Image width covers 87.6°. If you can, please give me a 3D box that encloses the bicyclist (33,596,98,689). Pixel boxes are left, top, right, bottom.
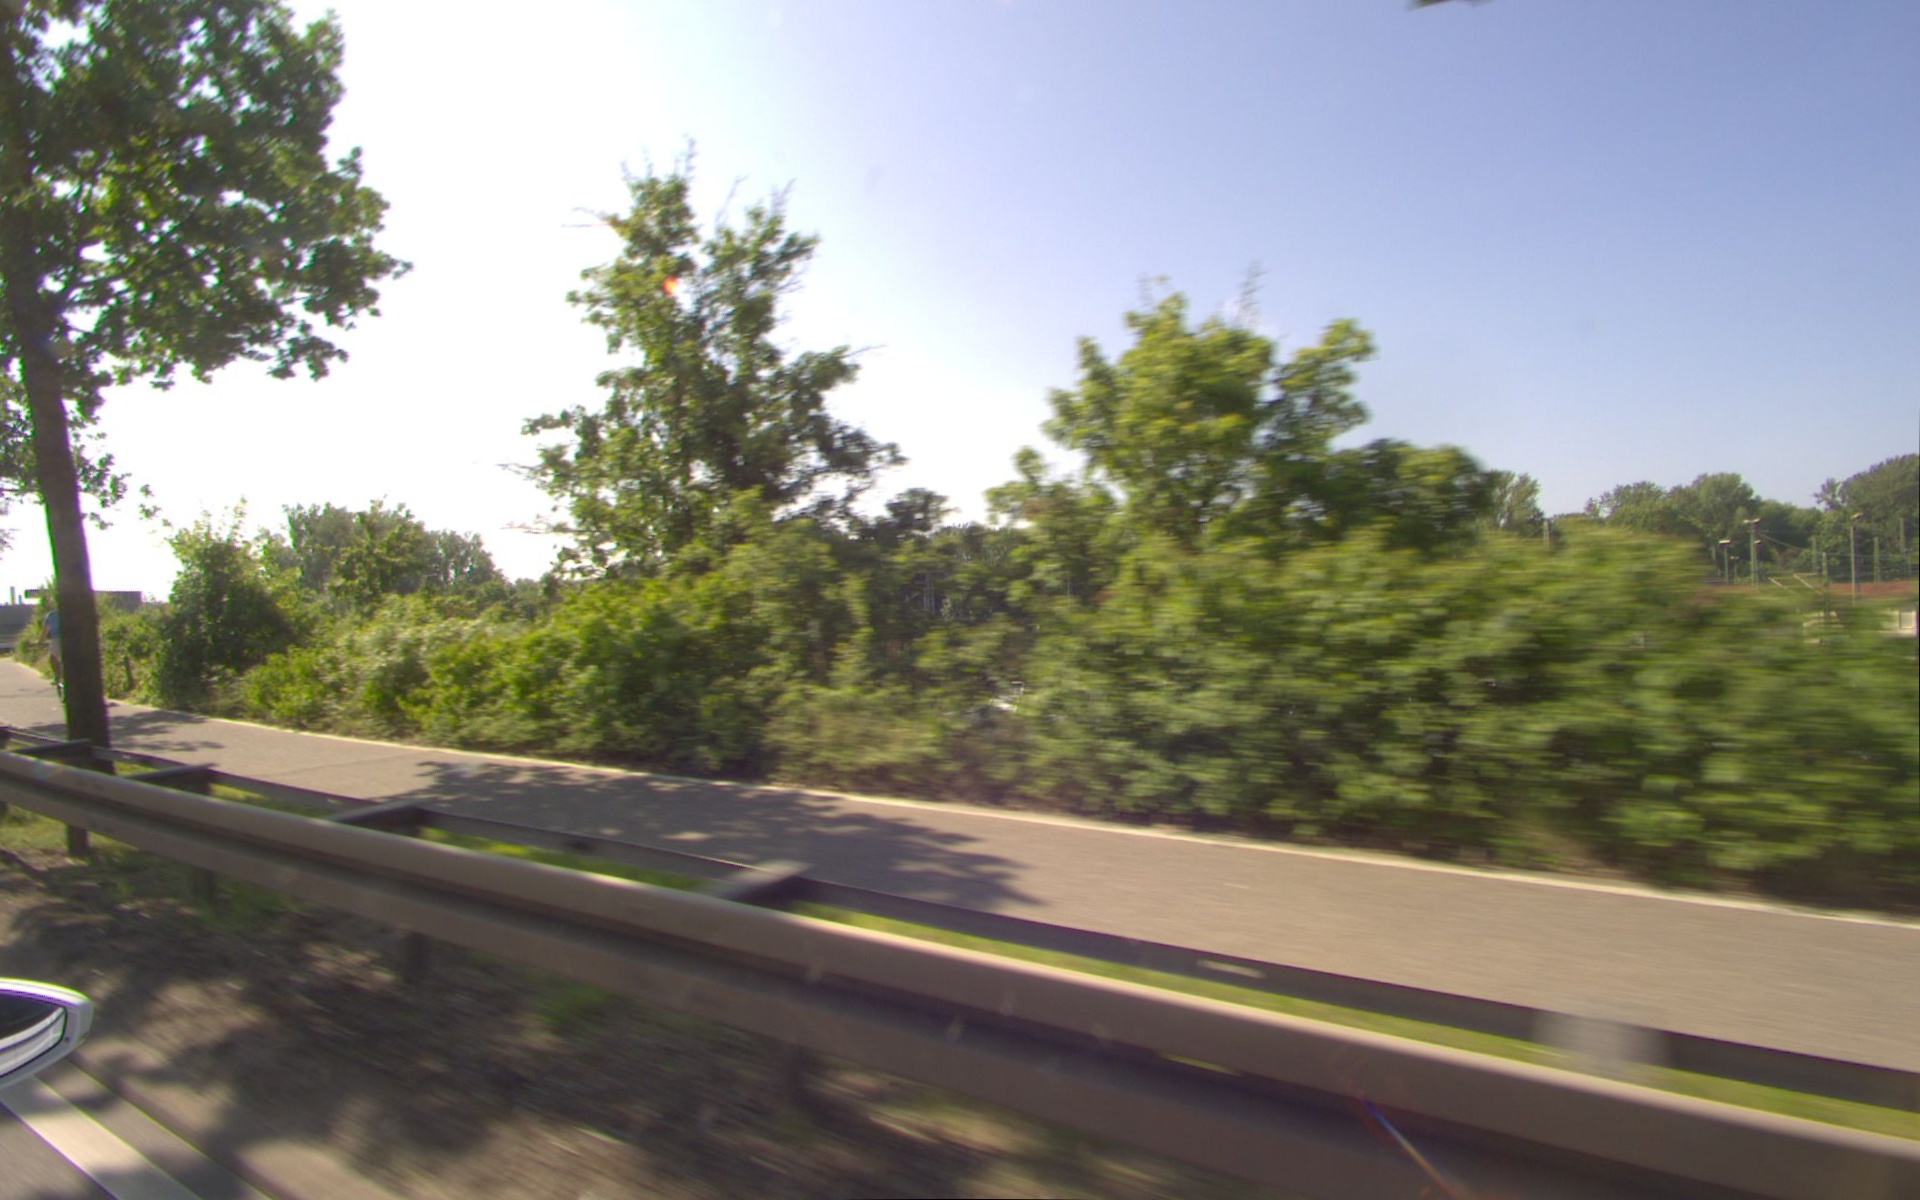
[{"bbox_3d":[-15.724,0.740,17.595,0.794,1.540,0.654,-2,3,41],"label":"bicyclist"}]

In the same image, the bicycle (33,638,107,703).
[{"bbox_3d":[-15.639,1.219,17.580,1.825,1.033,0.698,-3,2,41],"label":"bicycle"}]
